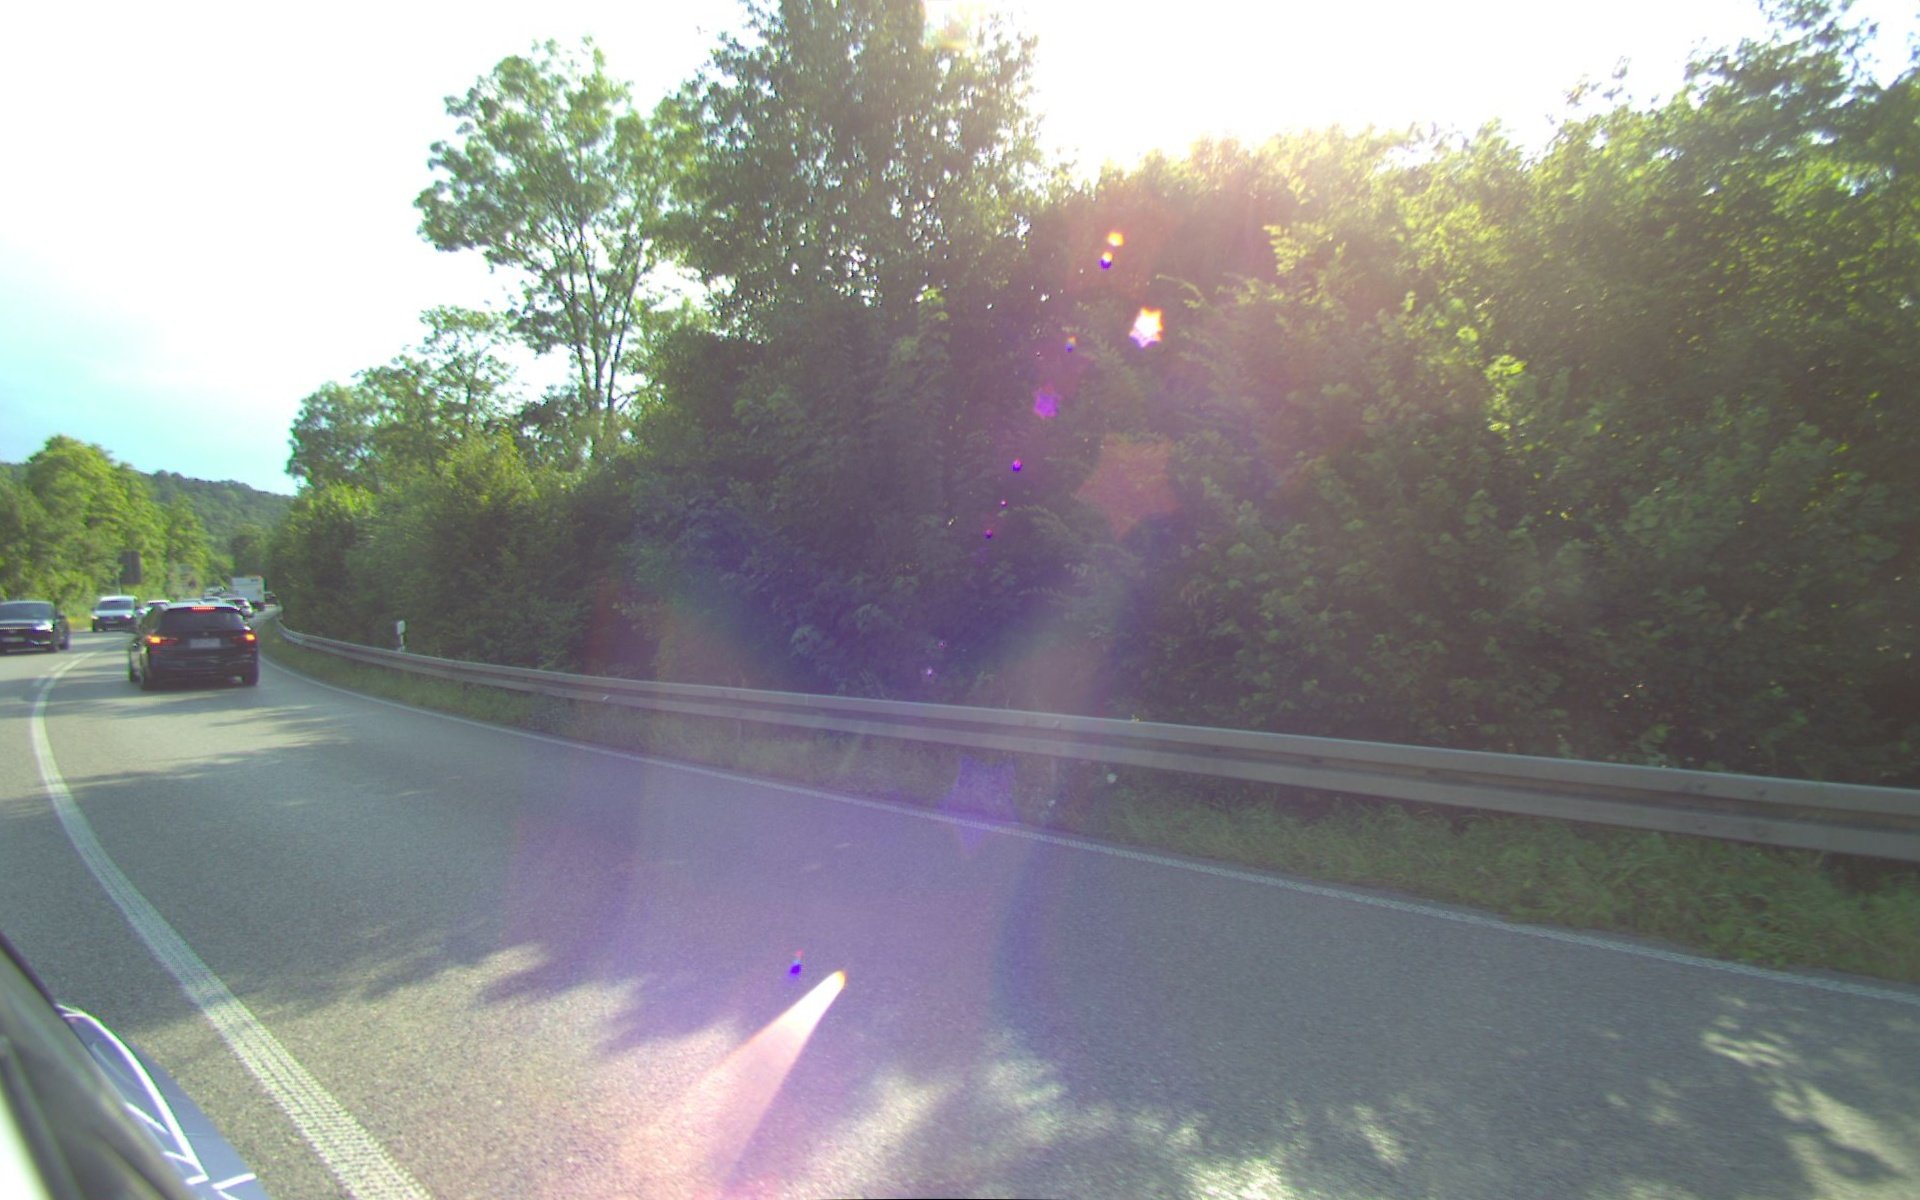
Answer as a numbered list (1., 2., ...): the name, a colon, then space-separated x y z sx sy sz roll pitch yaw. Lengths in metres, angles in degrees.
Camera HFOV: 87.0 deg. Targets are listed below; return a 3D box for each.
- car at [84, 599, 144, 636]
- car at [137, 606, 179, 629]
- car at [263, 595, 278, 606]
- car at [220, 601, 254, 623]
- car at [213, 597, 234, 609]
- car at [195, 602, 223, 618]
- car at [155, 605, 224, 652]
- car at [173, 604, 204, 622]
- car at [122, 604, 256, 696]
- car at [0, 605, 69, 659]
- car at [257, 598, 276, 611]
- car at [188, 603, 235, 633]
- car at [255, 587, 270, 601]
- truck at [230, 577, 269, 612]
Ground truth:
1. car: -44.161 0.870 52.915 1.838 1.733 4.776 -3 2 -34
2. car: -56.518 1.224 71.380 1.866 1.456 4.488 -4 2 -33
3. car: -100.574 0.085 147.643 1.768 1.456 3.803 -1 1 -35
4. car: -50.774 0.825 71.102 1.768 1.456 3.804 -1 1 -34
5. car: -89.747 0.363 123.366 1.866 1.456 4.488 -1 1 -33
6. car: -79.732 1.035 107.527 1.884 1.476 4.550 -3 2 -31
7. car: -27.141 0.945 35.685 1.826 1.519 4.413 0 0 -37
8. car: -70.917 1.167 93.079 1.830 1.431 4.432 -3 2 -32
9. car: -15.197 0.892 19.856 1.844 1.601 4.255 0 -1 -41
10. car: -29.565 0.974 31.918 1.820 1.581 4.267 -1 1 -36
11. car: -82.321 0.557 120.124 1.768 1.456 3.803 -1 1 -35
12. car: -38.268 0.878 51.806 1.638 1.456 3.933 -1 1 -32
13. car: -119.010 -0.955 172.584 1.866 2.339 4.489 -1 1 -32
14. truck: -63.849 -0.516 91.047 2.422 3.095 6.283 -1 1 -31
